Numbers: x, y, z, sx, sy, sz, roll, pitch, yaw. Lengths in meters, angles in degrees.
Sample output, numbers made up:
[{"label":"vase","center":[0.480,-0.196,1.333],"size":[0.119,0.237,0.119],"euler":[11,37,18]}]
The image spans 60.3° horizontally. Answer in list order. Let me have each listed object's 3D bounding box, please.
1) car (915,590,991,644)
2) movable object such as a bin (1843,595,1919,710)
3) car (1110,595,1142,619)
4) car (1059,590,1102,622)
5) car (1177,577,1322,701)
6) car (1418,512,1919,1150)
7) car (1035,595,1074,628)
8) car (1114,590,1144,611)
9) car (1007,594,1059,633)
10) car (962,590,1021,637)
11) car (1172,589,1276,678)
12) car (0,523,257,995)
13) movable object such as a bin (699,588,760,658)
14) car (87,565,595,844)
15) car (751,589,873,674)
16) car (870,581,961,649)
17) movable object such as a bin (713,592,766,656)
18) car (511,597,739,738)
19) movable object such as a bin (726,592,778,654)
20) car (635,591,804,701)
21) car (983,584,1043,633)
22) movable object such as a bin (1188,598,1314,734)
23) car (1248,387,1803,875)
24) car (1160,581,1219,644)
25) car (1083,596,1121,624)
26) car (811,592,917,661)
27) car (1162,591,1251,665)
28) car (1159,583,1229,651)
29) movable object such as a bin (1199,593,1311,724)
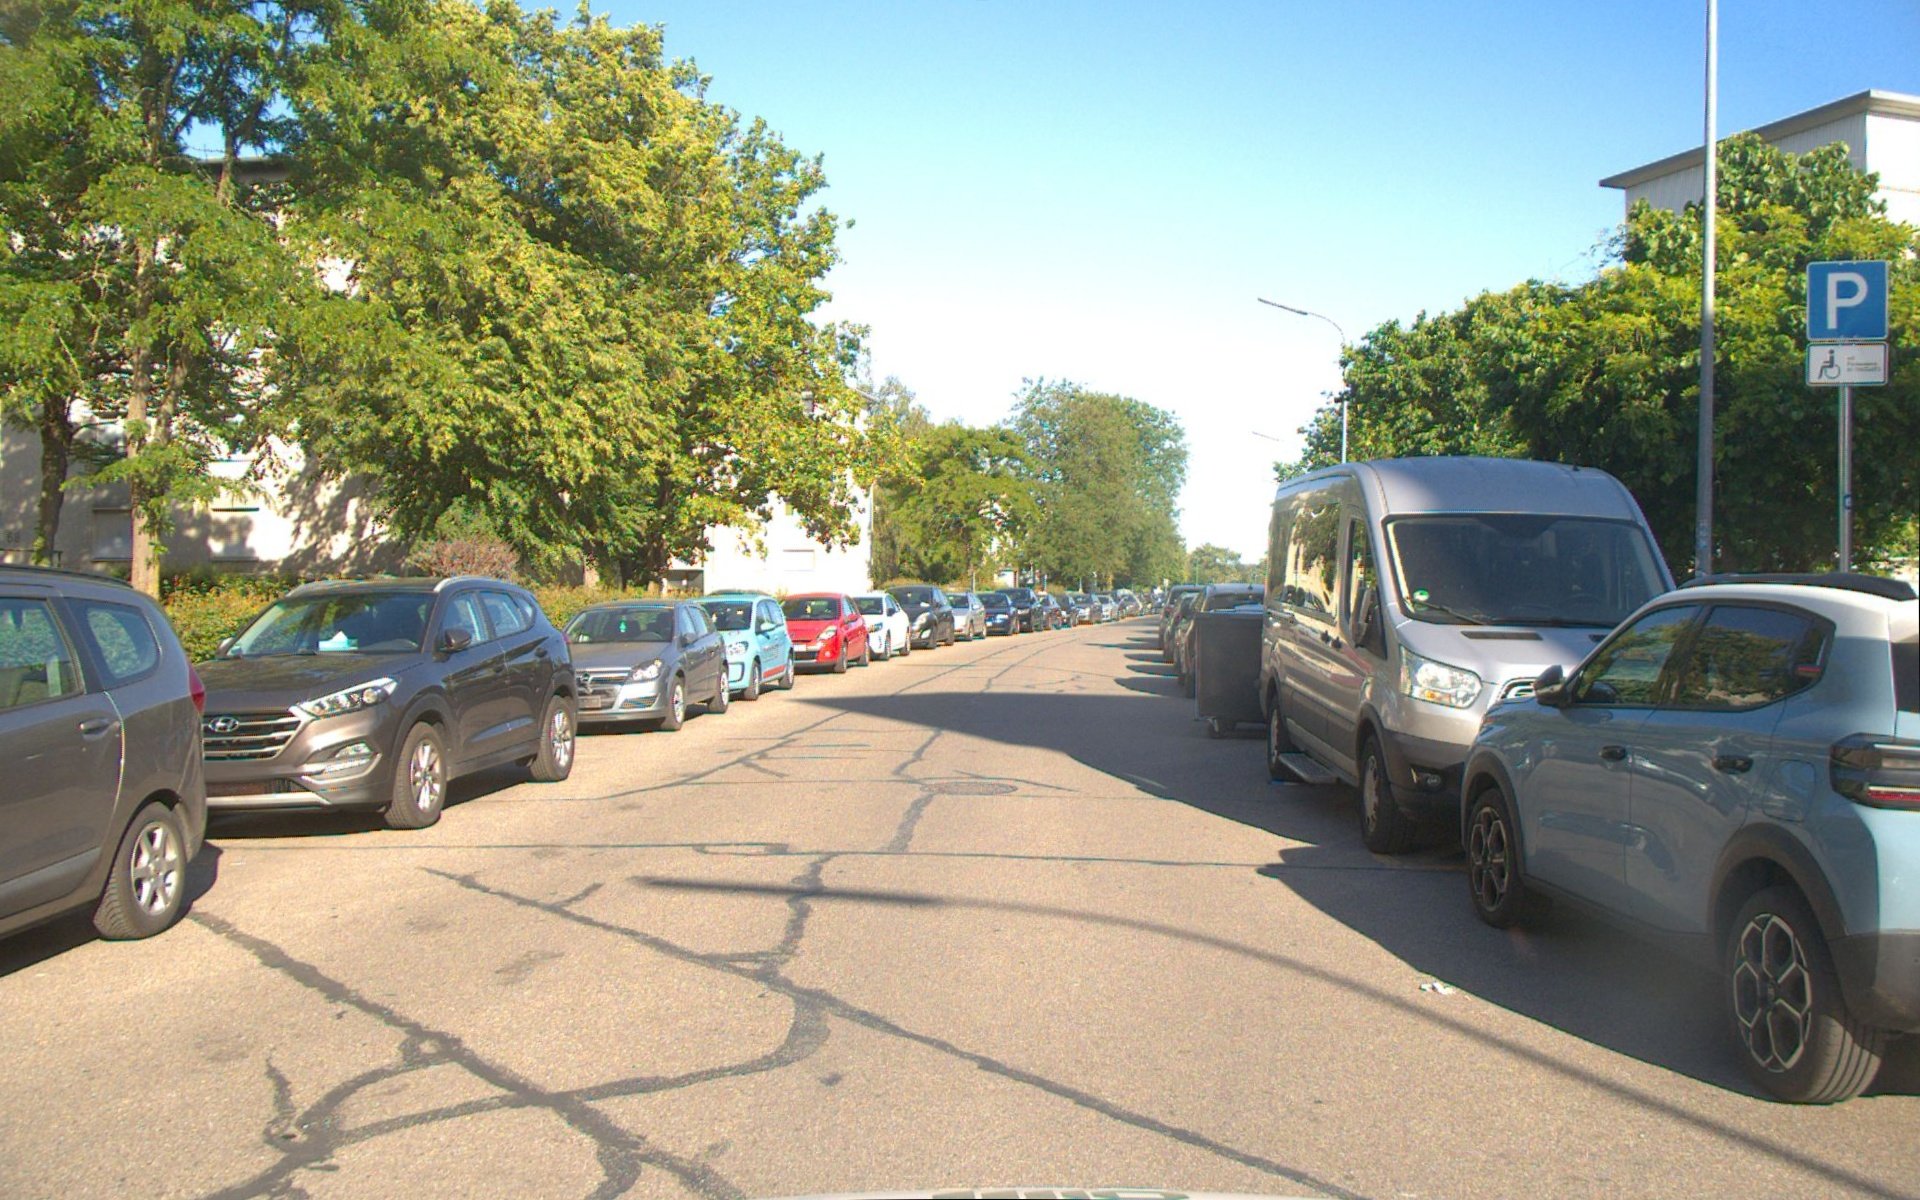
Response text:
[{"label":"car","center":[-0.168,0.485,50.325],"size":[1.625,1.512,4.056],"euler":[-2,0,9]},{"label":"movable object such as a bin","center":[11.627,0.607,19.852],"size":[1.382,1.328,1.383],"euler":[-1,0,7]},{"label":"car","center":[10.339,0.441,102.913],"size":[1.477,1.405,3.470],"euler":[-2,0,13]},{"label":"car","center":[5.900,0.291,80.896],"size":[1.477,1.476,3.694],"euler":[-2,0,13]},{"label":"car","center":[4.353,0.520,25.456],"size":[1.771,1.693,4.465],"euler":[2,1,5]},{"label":"car","center":[3.391,0.606,6.604],"size":[1.871,1.695,4.374],"euler":[0,0,-1]},{"label":"car","center":[4.257,0.500,74.390],"size":[1.359,1.438,3.128],"euler":[-2,0,10]},{"label":"car","center":[11.060,0.030,108.278],"size":[1.477,1.352,3.470],"euler":[-2,0,13]},{"label":"car","center":[2.958,0.507,66.311],"size":[1.625,1.464,3.763],"euler":[-2,0,9]},{"label":"car","center":[1.101,0.433,55.733],"size":[1.625,1.451,4.052],"euler":[-2,0,6]},{"label":"car","center":[4.935,0.589,31.330],"size":[1.649,1.513,3.827],"euler":[2,0,5]},{"label":"car","center":[-4.336,0.599,6.059],"size":[1.523,1.752,4.342],"euler":[-1,0,2]},{"label":"movable object such as a bin","center":[-5.108,0.498,36.741],"size":[1.087,1.524,1.409],"euler":[0,1,4]},{"label":"car","center":[-4.171,0.607,12.007],"size":[1.711,1.646,4.365],"euler":[-1,0,5]},{"label":"car","center":[-2.770,0.562,31.610],"size":[1.635,1.500,3.680],"euler":[-1,0,5]},{"label":"car","center":[-1.125,0.371,43.807],"size":[1.635,1.696,4.410],"euler":[-1,0,8]},{"label":"movable object such as a bin","center":[-5.104,0.536,38.380],"size":[0.967,1.443,1.315],"euler":[0,1,4]},{"label":"car","center":[-3.836,0.713,19.600],"size":[1.635,1.462,4.002],"euler":[-1,0,3]},{"label":"movable object such as a bin","center":[-4.992,0.533,39.728],"size":[0.967,1.443,1.315],"euler":[0,1,6]},{"label":"car","center":[-3.519,0.635,24.824],"size":[1.635,1.500,3.680],"euler":[-1,0,5]},{"label":"car","center":[1.999,0.287,61.408],"size":[1.625,1.718,4.053],"euler":[-2,0,9]},{"label":"movable object such as a bin","center":[3.084,0.680,17.482],"size":[1.242,1.336,1.123],"euler":[-1,2,11]},{"label":"car","center":[3.495,0.155,11.669],"size":[2.061,2.529,5.857],"euler":[1,0,2]},{"label":"car","center":[6.776,0.341,48.658],"size":[1.618,1.728,4.237],"euler":[1,0,8]},{"label":"car","center":[7.494,0.510,87.030],"size":[1.477,1.388,3.470],"euler":[-2,0,13]},{"label":"car","center":[-2.097,0.559,37.157],"size":[1.635,1.446,3.904],"euler":[-1,0,8]},{"label":"car","center":[5.418,0.585,36.771],"size":[1.646,1.482,4.294],"euler":[2,0,5]},{"label":"car","center":[6.091,0.416,43.438],"size":[1.693,1.647,4.236],"euler":[1,0,6]},{"label":"movable object such as a bin","center":[3.326,0.638,18.629],"size":[1.202,1.421,1.171],"euler":[0,0,11]}]
